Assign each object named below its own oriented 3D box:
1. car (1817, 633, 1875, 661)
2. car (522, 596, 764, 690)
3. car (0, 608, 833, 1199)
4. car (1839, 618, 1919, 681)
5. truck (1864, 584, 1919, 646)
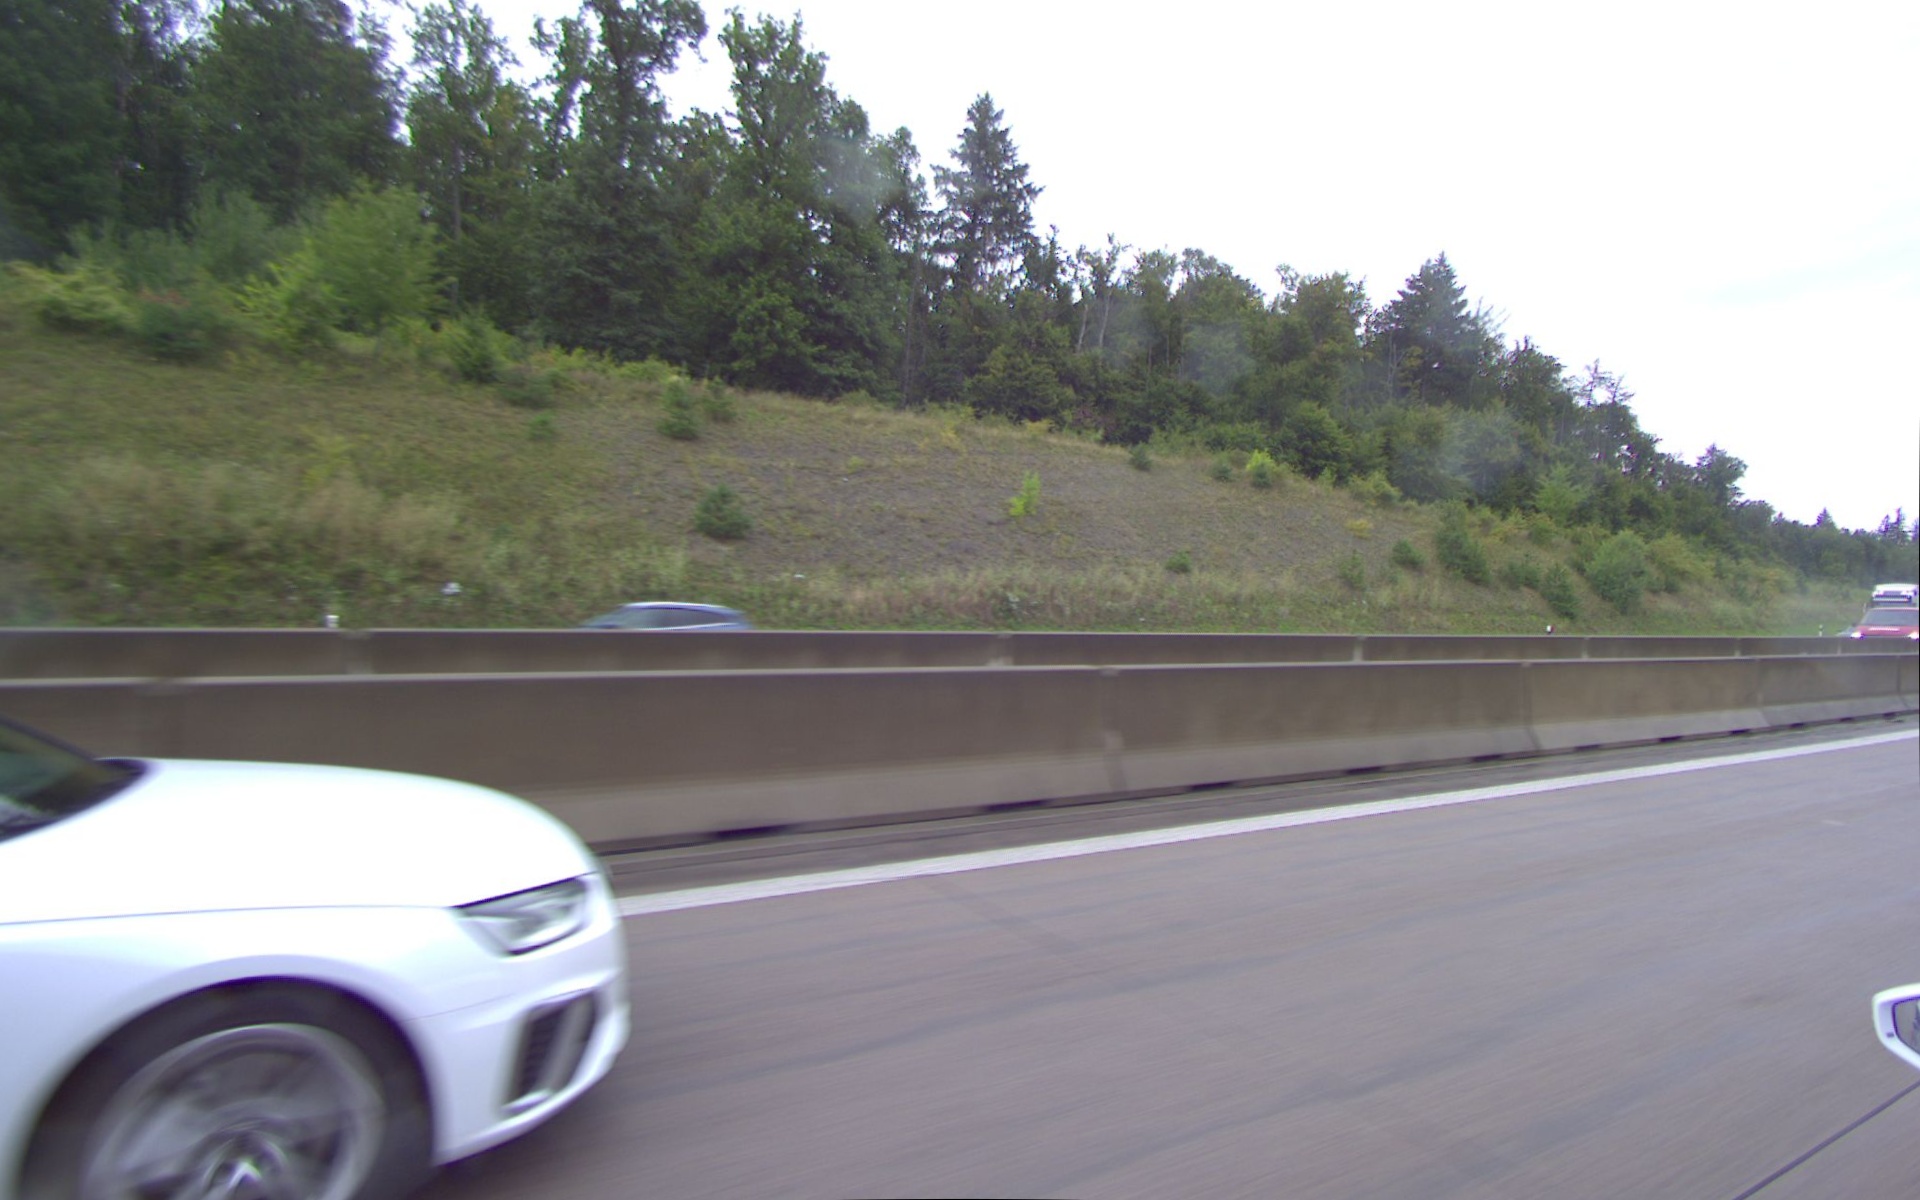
[{"bbox_3d":[49.011,2.582,55.572,3.962,1.411,1.610,1,-1,-36],"label":"car"},{"bbox_3d":[-6.127,0.810,19.536,4.205,1.660,1.768,2,-1,-31],"label":"car"},{"bbox_3d":[-2.875,0.729,2.210,4.876,1.426,1.704,2,-1,-30],"label":"car"},{"bbox_3d":[34.140,1.770,36.529,5.276,2.110,1.981,1,-1,-34],"label":"car"},{"bbox_3d":[68.931,1.112,73.370,8.237,4.341,2.725,1,0,-37],"label":"truck"}]
